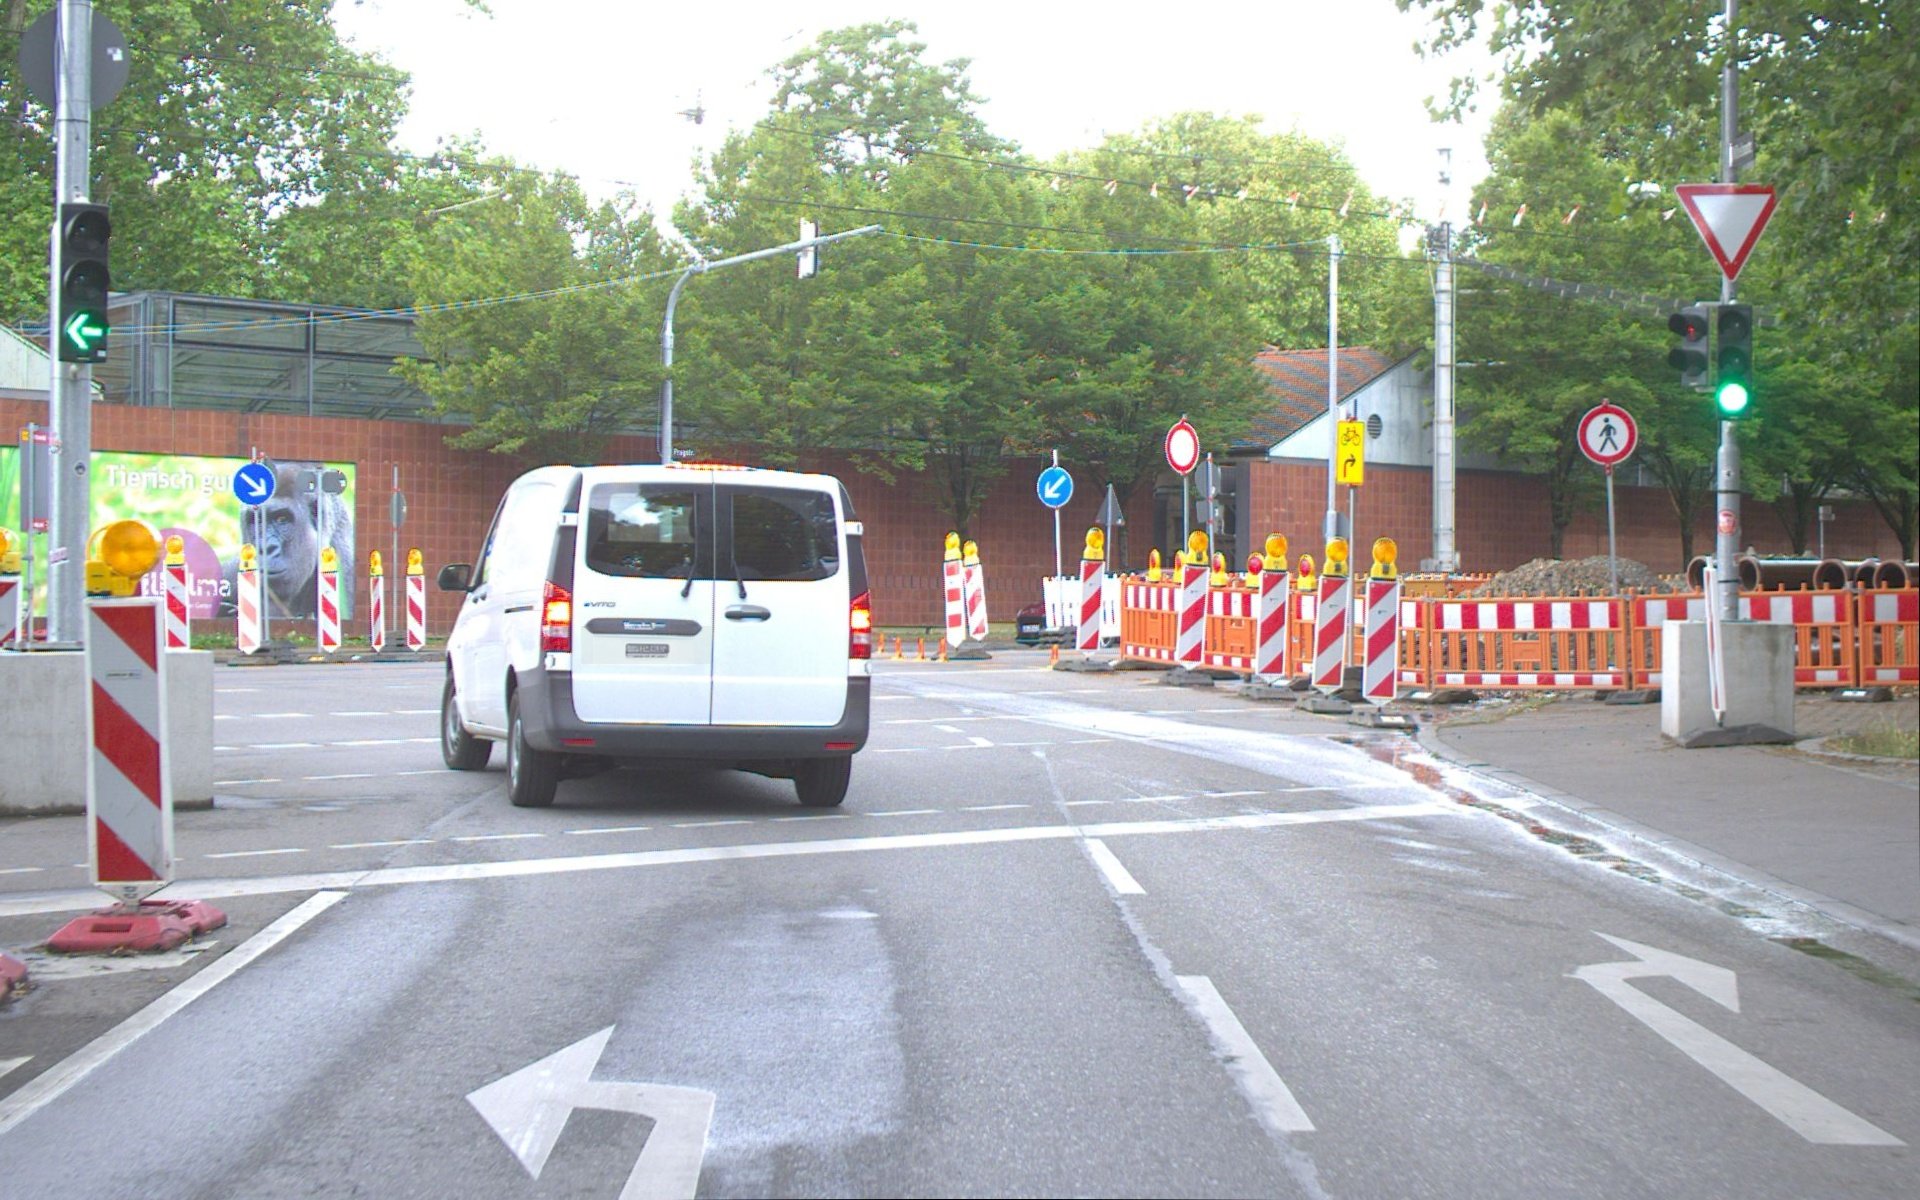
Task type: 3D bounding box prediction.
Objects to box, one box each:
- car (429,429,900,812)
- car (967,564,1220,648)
[{"bbox_3d":[-1.882,0.149,20.299,1.916,1.895,4.702,4,-2,-14],"label":"car"},{"bbox_3d":[2.457,0.136,62.827,4.445,1.438,1.879,1,-2,-37],"label":"car"}]
